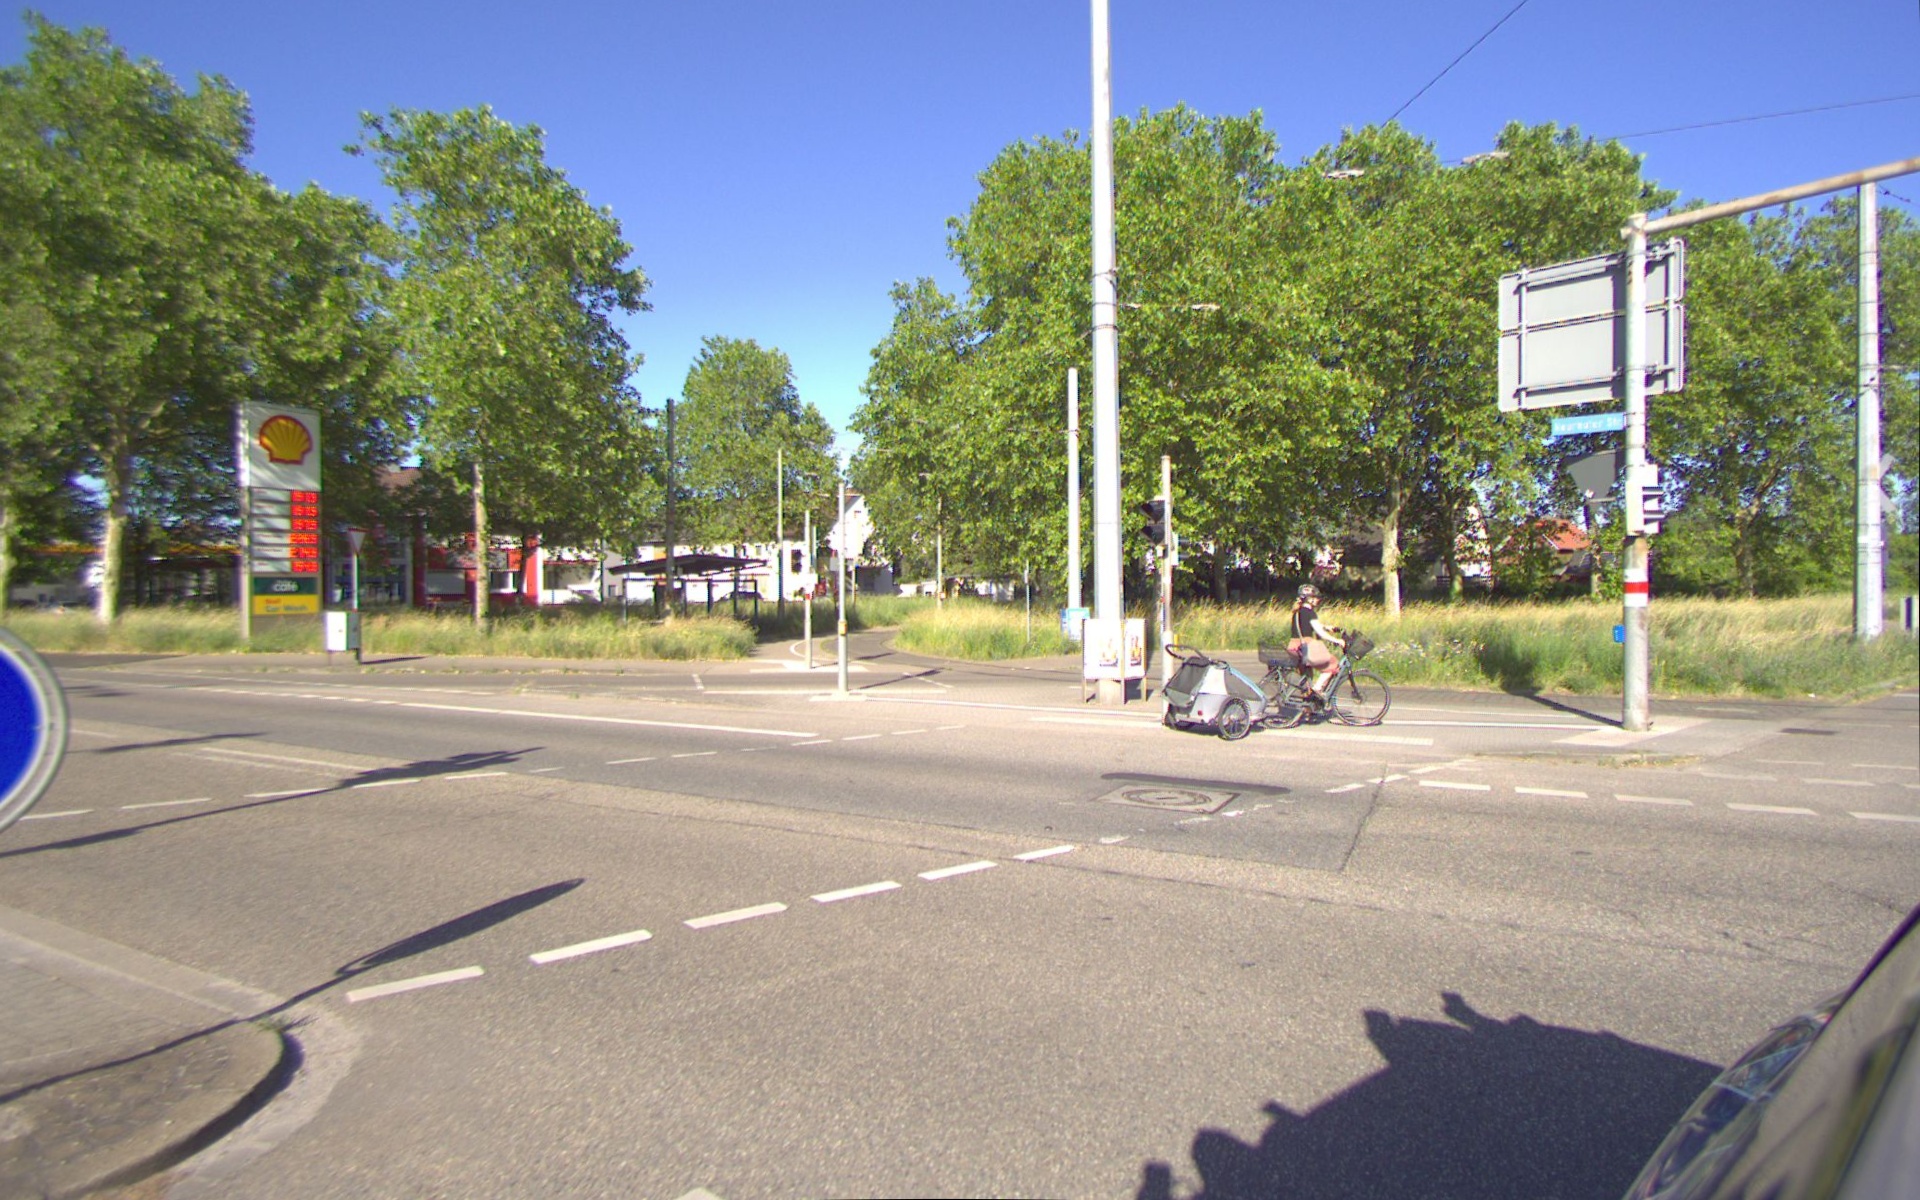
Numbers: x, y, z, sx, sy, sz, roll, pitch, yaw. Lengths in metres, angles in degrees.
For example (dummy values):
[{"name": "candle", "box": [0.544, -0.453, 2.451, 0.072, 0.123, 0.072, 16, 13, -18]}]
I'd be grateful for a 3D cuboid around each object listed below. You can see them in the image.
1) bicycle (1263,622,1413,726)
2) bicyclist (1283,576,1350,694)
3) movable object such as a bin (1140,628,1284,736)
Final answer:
[{"name": "bicycle", "box": [4.519, 0.855, 12.089, 1.782, 1.133, 0.469, -1, 0, -19]}, {"name": "bicyclist", "box": [4.227, 0.394, 12.009, 0.553, 1.357, 0.512, -1, 0, -22]}, {"name": "movable object such as a bin", "box": [2.845, 0.894, 11.474, 1.289, 1.082, 0.913, -1, 1, -22]}]
